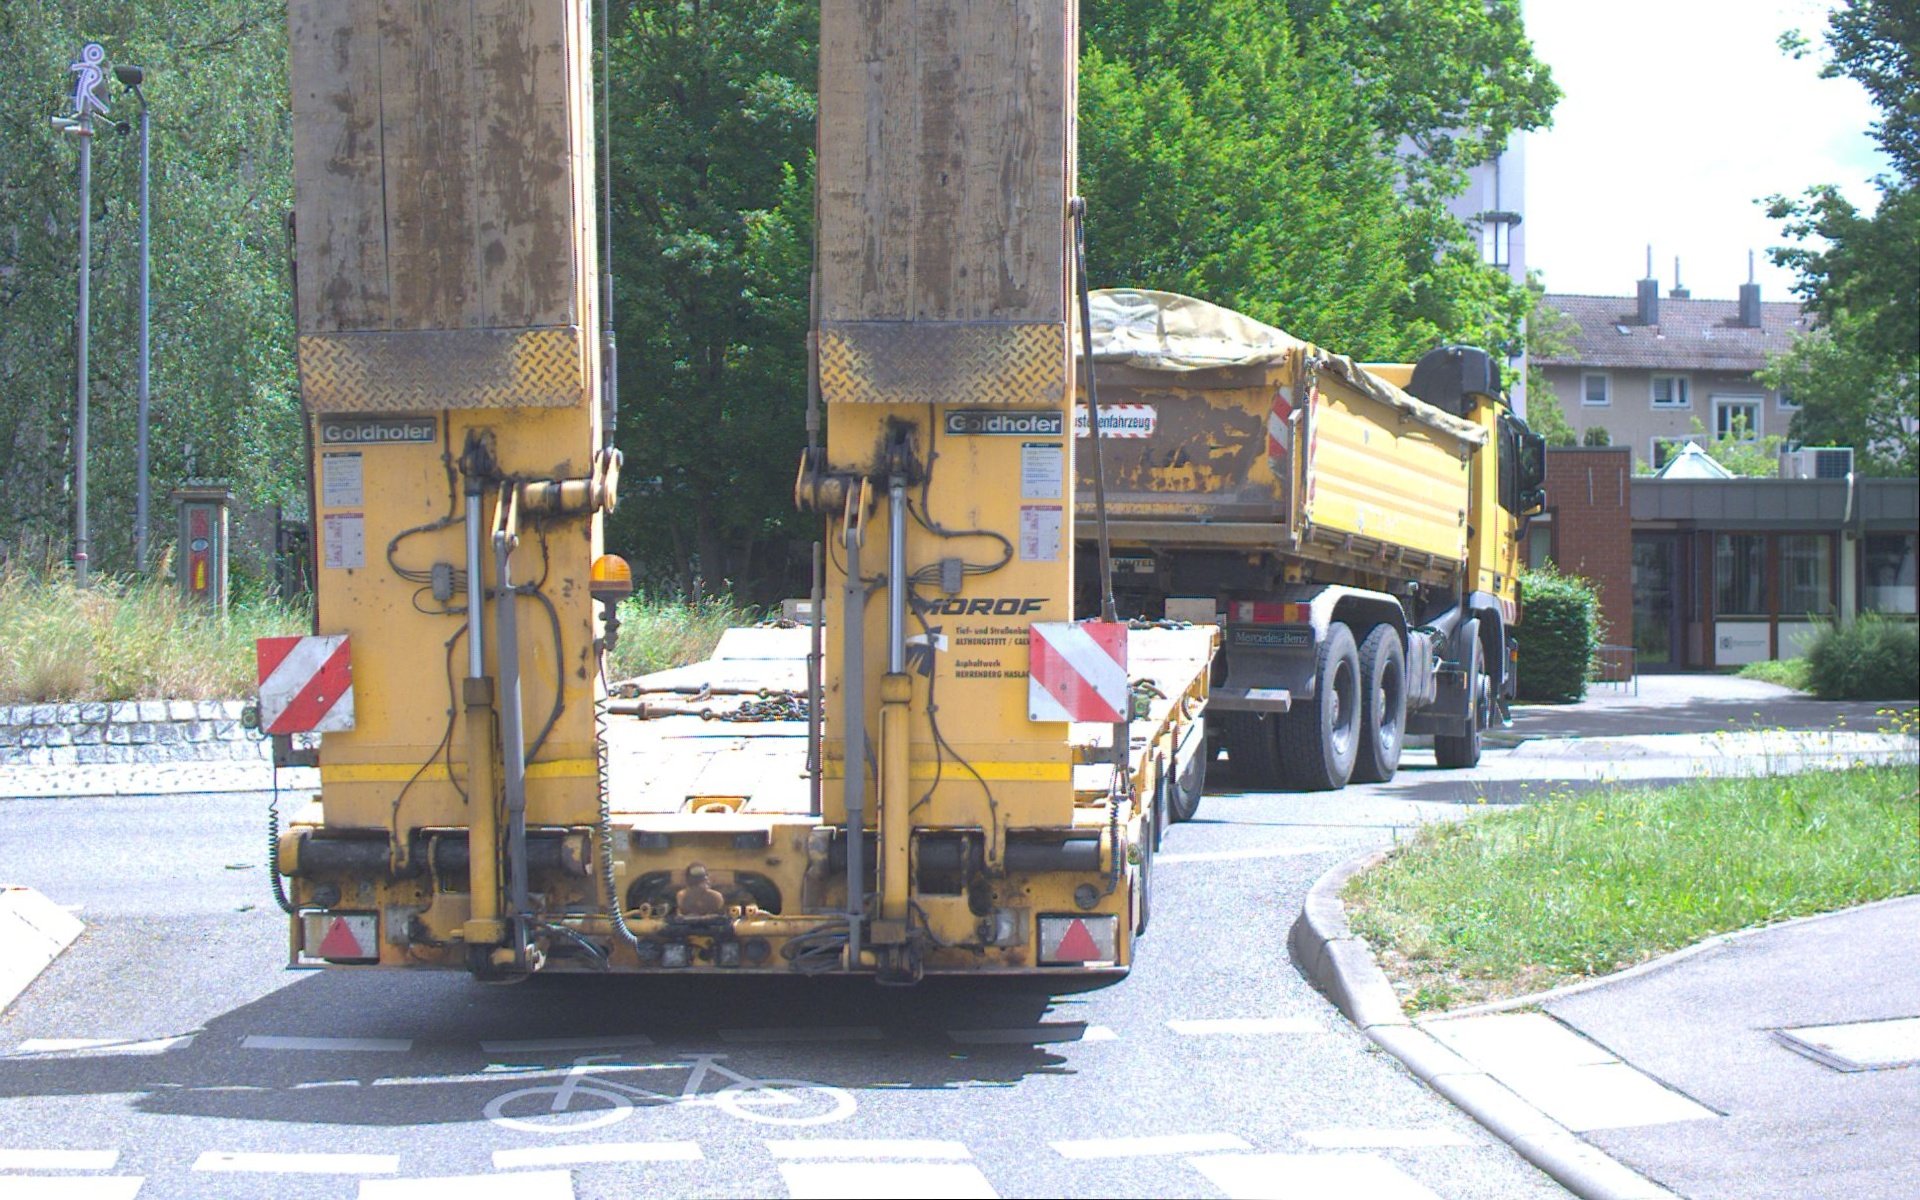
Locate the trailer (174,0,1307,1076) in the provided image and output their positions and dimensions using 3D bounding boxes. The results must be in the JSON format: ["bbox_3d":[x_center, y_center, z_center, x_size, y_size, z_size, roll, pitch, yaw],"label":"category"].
[{"bbox_3d":[-0.113,-0.488,15.072,2.864,3.361,10.838,1,1,7],"label":"trailer"}]

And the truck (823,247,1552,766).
[{"bbox_3d":[1.994,-0.664,24.542,2.991,3.024,8.478,2,2,19],"label":"truck"}]
